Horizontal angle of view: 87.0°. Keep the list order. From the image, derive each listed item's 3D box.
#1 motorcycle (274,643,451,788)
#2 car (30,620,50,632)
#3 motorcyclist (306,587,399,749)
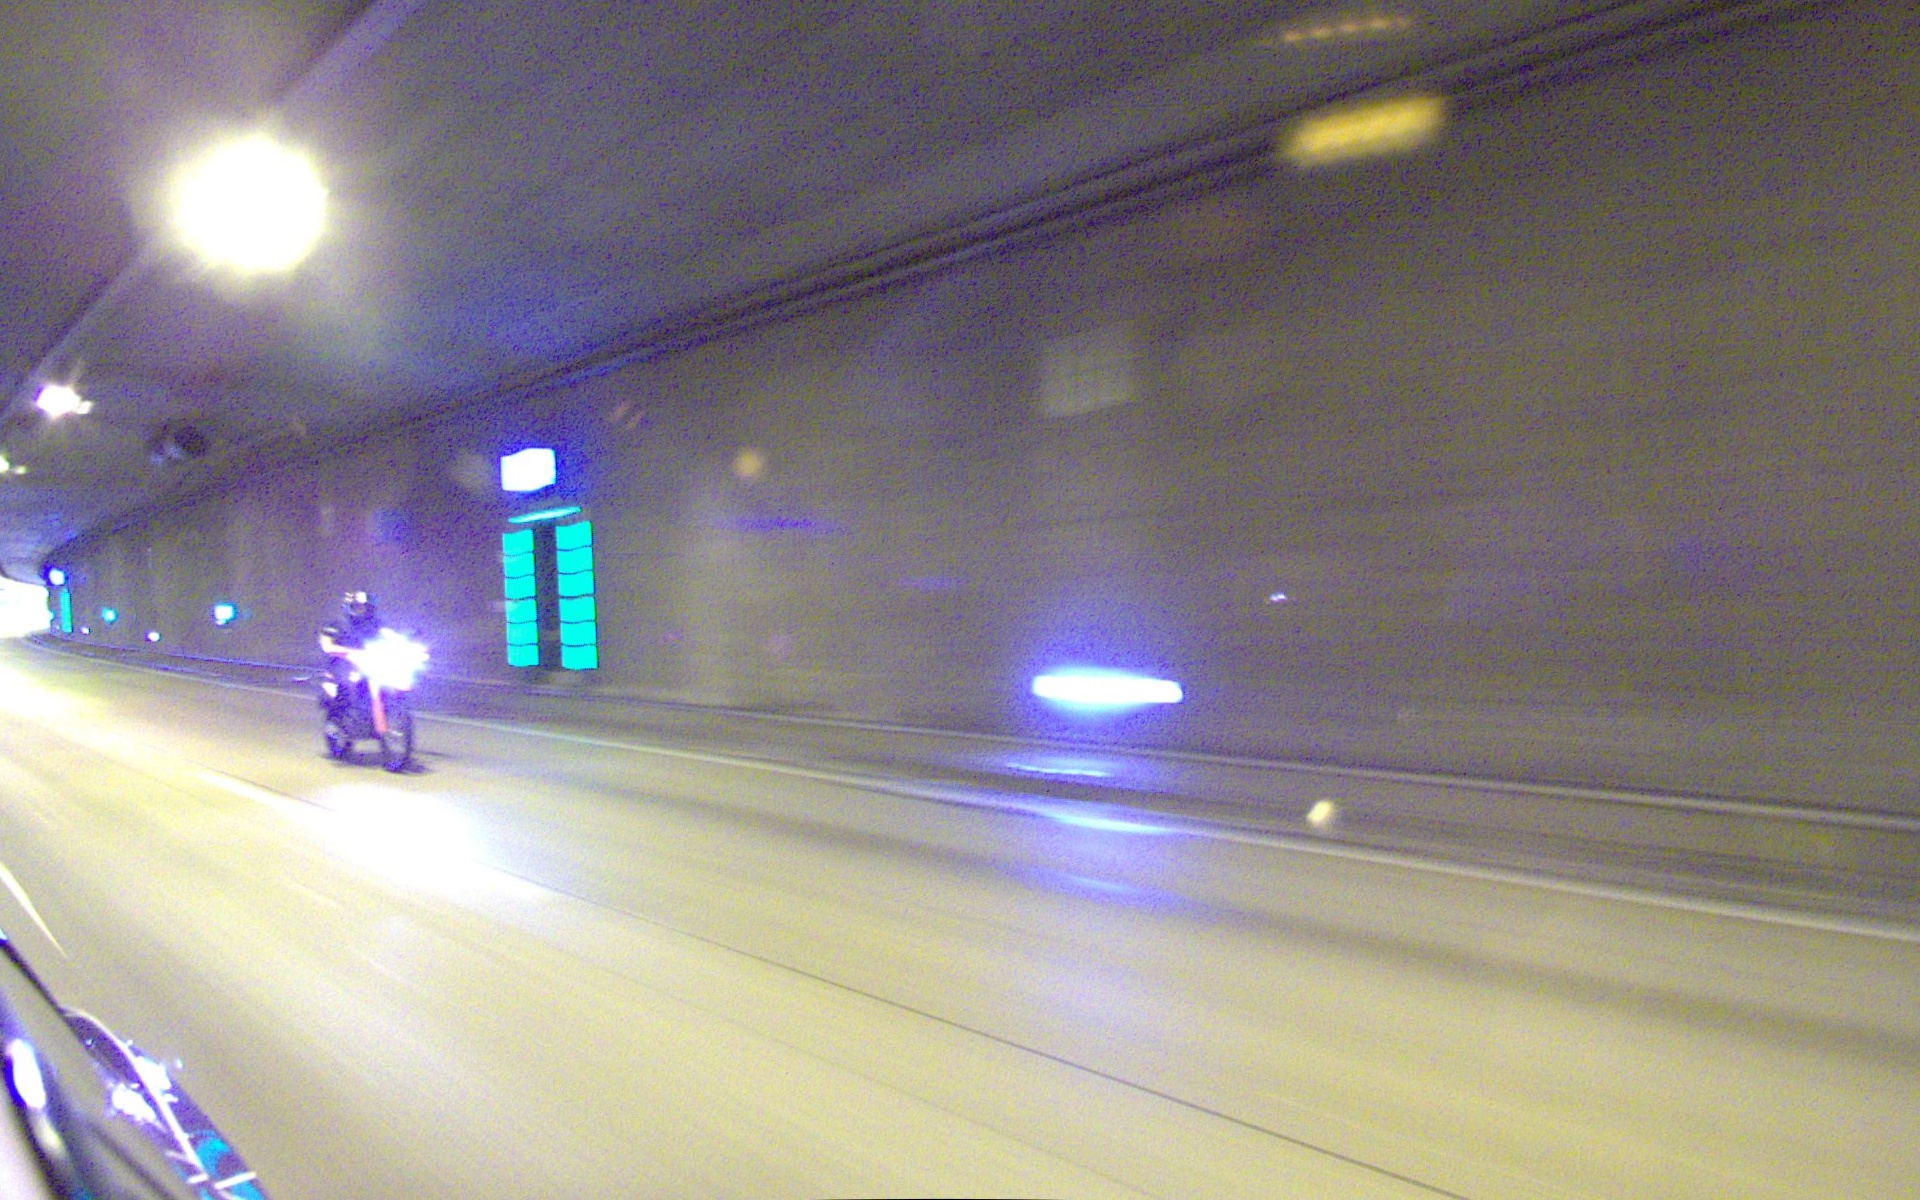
[{"bbox_3d":[-5.885,1.039,9.886,1.040,1.166,2.431,1,-1,-42],"label":"motorcycle"},{"bbox_3d":[-148.475,4.114,163.285,1.967,1.812,4.009,-1,0,-37],"label":"car"},{"bbox_3d":[-5.962,0.640,9.927,0.619,1.500,0.891,1,-1,-42],"label":"motorcyclist"}]
